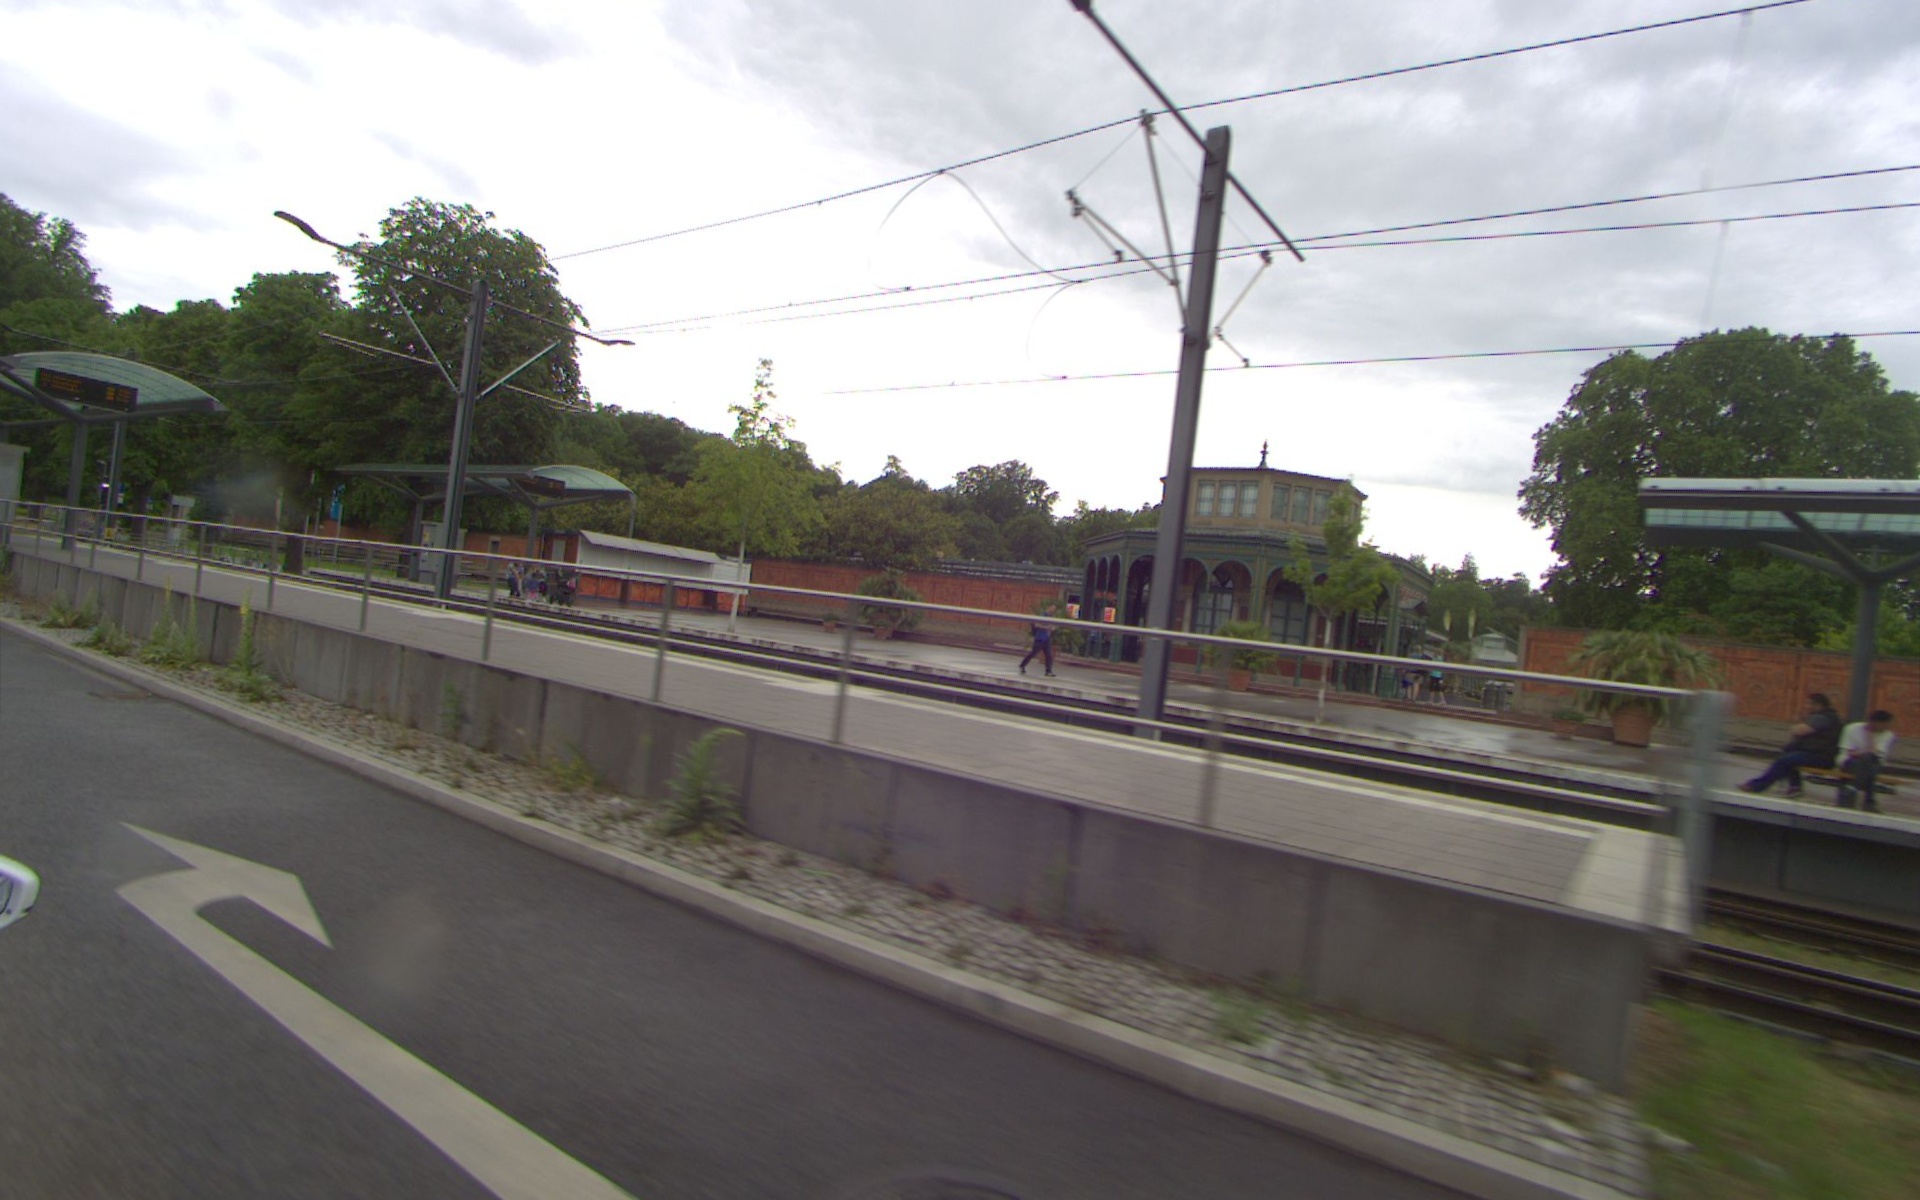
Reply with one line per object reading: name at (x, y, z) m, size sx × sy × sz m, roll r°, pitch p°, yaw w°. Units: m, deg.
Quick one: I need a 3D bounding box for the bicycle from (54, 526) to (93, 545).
bicycle at (-59.203, -4.299, 67.207) m, size 0.642 × 1.045 × 1.810 m, roll 8°, pitch 2°, yaw 34°

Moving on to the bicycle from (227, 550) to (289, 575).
bicycle at (-33.399, -1.770, 47.880) m, size 0.561 × 0.969 × 2.321 m, roll 8°, pitch 2°, yaw 34°

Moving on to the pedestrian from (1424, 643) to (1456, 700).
pedestrian at (14.727, 2.194, 30.890) m, size 0.543 × 1.677 × 0.467 m, roll 7°, pitch 0°, yaw -20°

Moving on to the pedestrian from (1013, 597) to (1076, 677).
pedestrian at (2.086, 0.905, 24.877) m, size 1.164 × 1.814 × 0.720 m, roll 8°, pitch 4°, yaw 37°

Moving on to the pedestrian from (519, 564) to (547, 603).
pedestrian at (-12.184, -0.474, 28.683) m, size 0.543 × 1.022 × 0.436 m, roll 8°, pitch 2°, yaw 37°

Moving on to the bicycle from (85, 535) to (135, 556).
bicycle at (-52.875, -3.387, 62.617) m, size 0.678 × 1.045 × 2.223 m, roll 8°, pitch 2°, yaw 34°

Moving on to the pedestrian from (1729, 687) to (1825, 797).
pedestrian at (10.212, 1.769, 12.600) m, size 0.769 × 1.225 × 0.520 m, roll 6°, pitch -4°, yaw 32°

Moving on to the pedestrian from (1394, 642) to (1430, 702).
pedestrian at (13.821, 2.193, 30.789) m, size 0.530 × 1.730 × 0.687 m, roll 8°, pitch -2°, yaw -42°

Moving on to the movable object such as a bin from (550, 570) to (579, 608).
movable object such as a bin at (-11.549, -0.328, 29.380) m, size 0.671 × 1.022 × 0.436 m, roll 8°, pitch 2°, yaw 37°

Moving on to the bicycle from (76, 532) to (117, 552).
bicycle at (-54.990, -3.688, 64.062) m, size 0.642 × 1.045 × 1.847 m, roll 8°, pitch 2°, yaw 34°

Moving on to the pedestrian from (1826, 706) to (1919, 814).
pedestrian at (10.486, 1.824, 11.575) m, size 0.510 × 1.131 × 0.603 m, roll 7°, pitch -3°, yaw 20°

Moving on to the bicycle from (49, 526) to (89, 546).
bicycle at (-58.648, -4.193, 66.244) m, size 0.642 × 1.045 × 1.810 m, roll 8°, pitch 2°, yaw 34°

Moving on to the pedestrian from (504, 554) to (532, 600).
pedestrian at (-12.786, -0.665, 29.100) m, size 0.543 × 1.242 × 0.436 m, roll 8°, pitch 3°, yaw 37°

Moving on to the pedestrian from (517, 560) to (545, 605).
pedestrian at (-12.689, -0.520, 29.755) m, size 0.543 × 1.242 × 0.436 m, roll 8°, pitch 3°, yaw 37°
